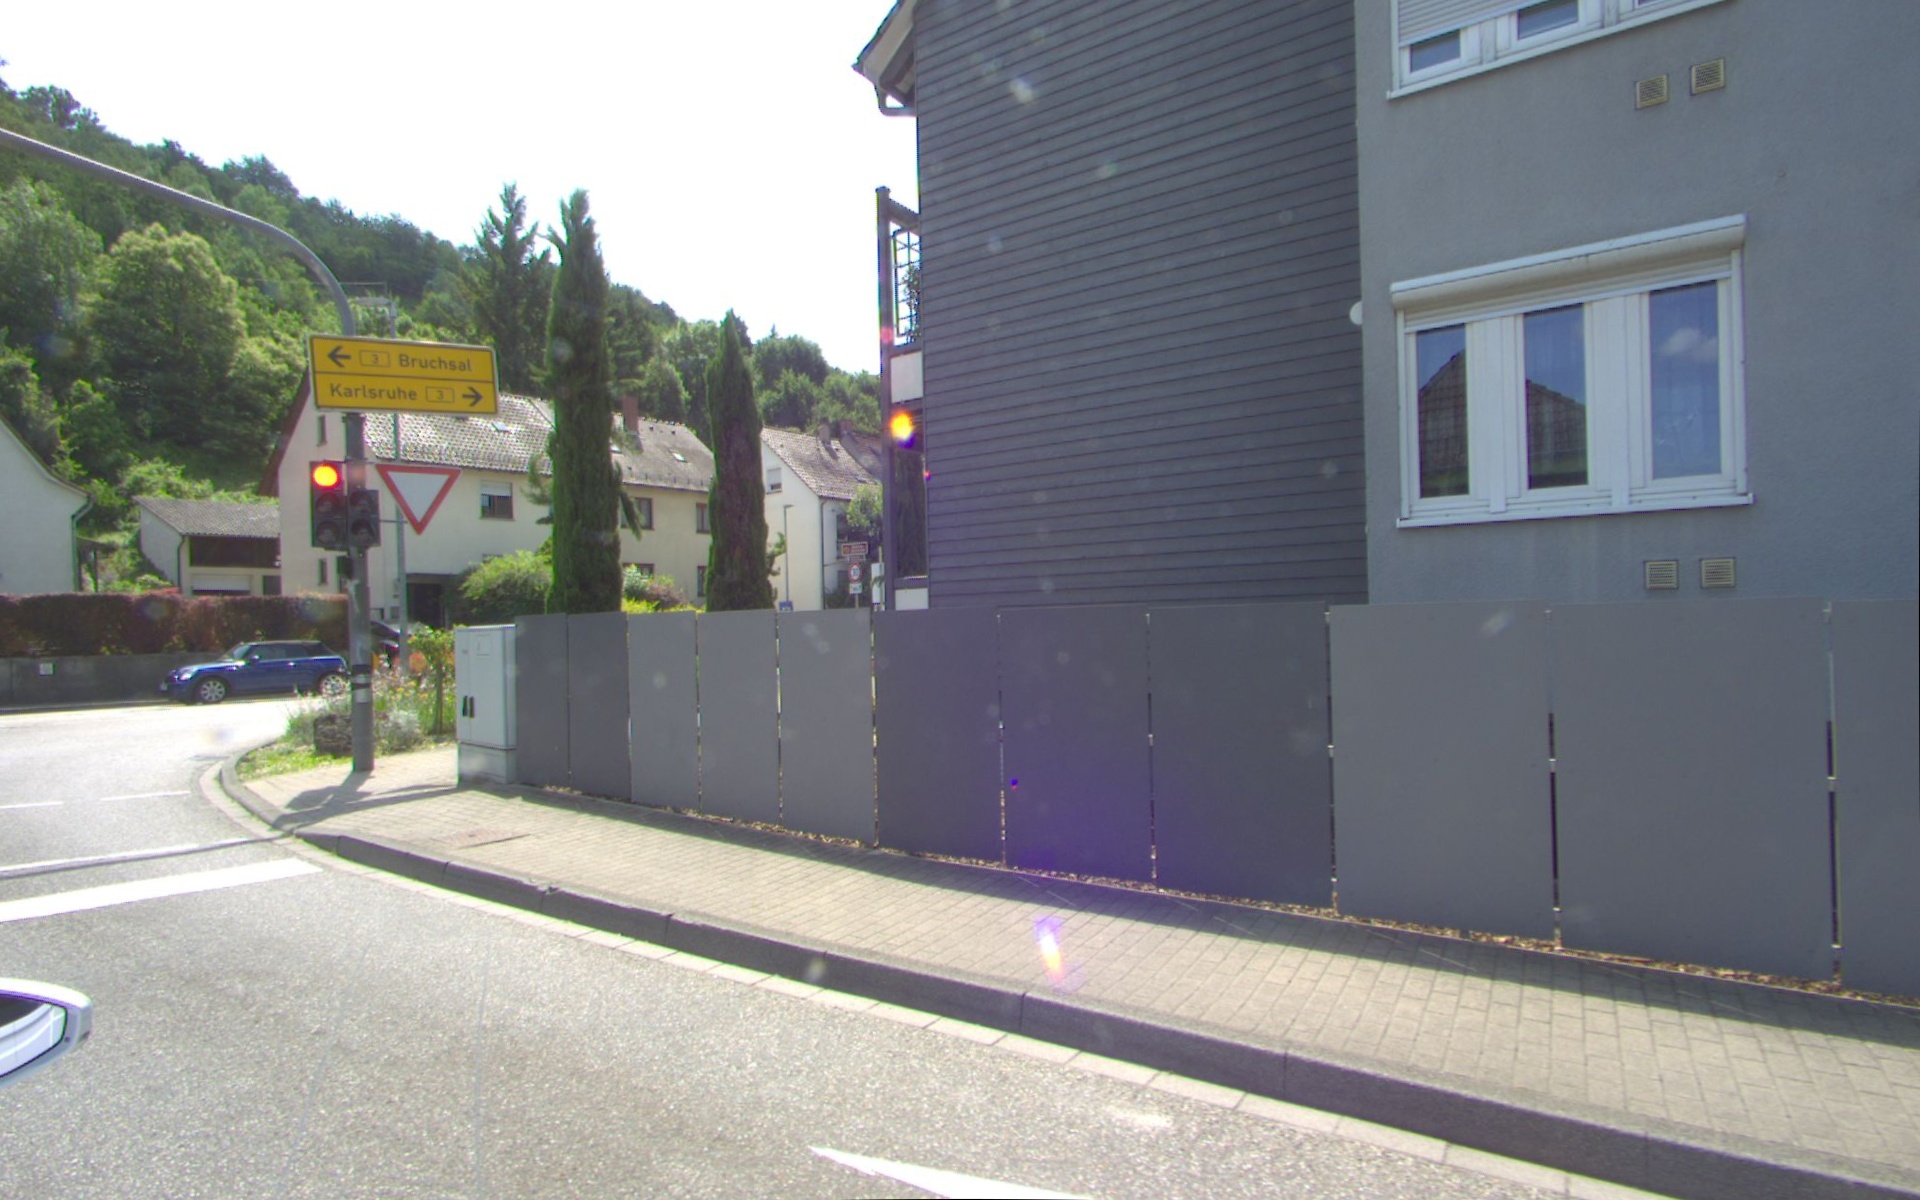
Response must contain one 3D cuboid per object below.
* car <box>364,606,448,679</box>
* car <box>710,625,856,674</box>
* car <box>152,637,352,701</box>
[{"bbox_3d":[-17.602,1.297,31.756,1.780,1.410,3.650,0,12,-38],"label":"car"},{"bbox_3d":[-5.775,1.605,33.137,1.905,1.445,4.645,-4,-3,38],"label":"car"},{"bbox_3d":[-16.813,1.605,23.912,1.624,1.379,3.598,-5,-4,36],"label":"car"}]
